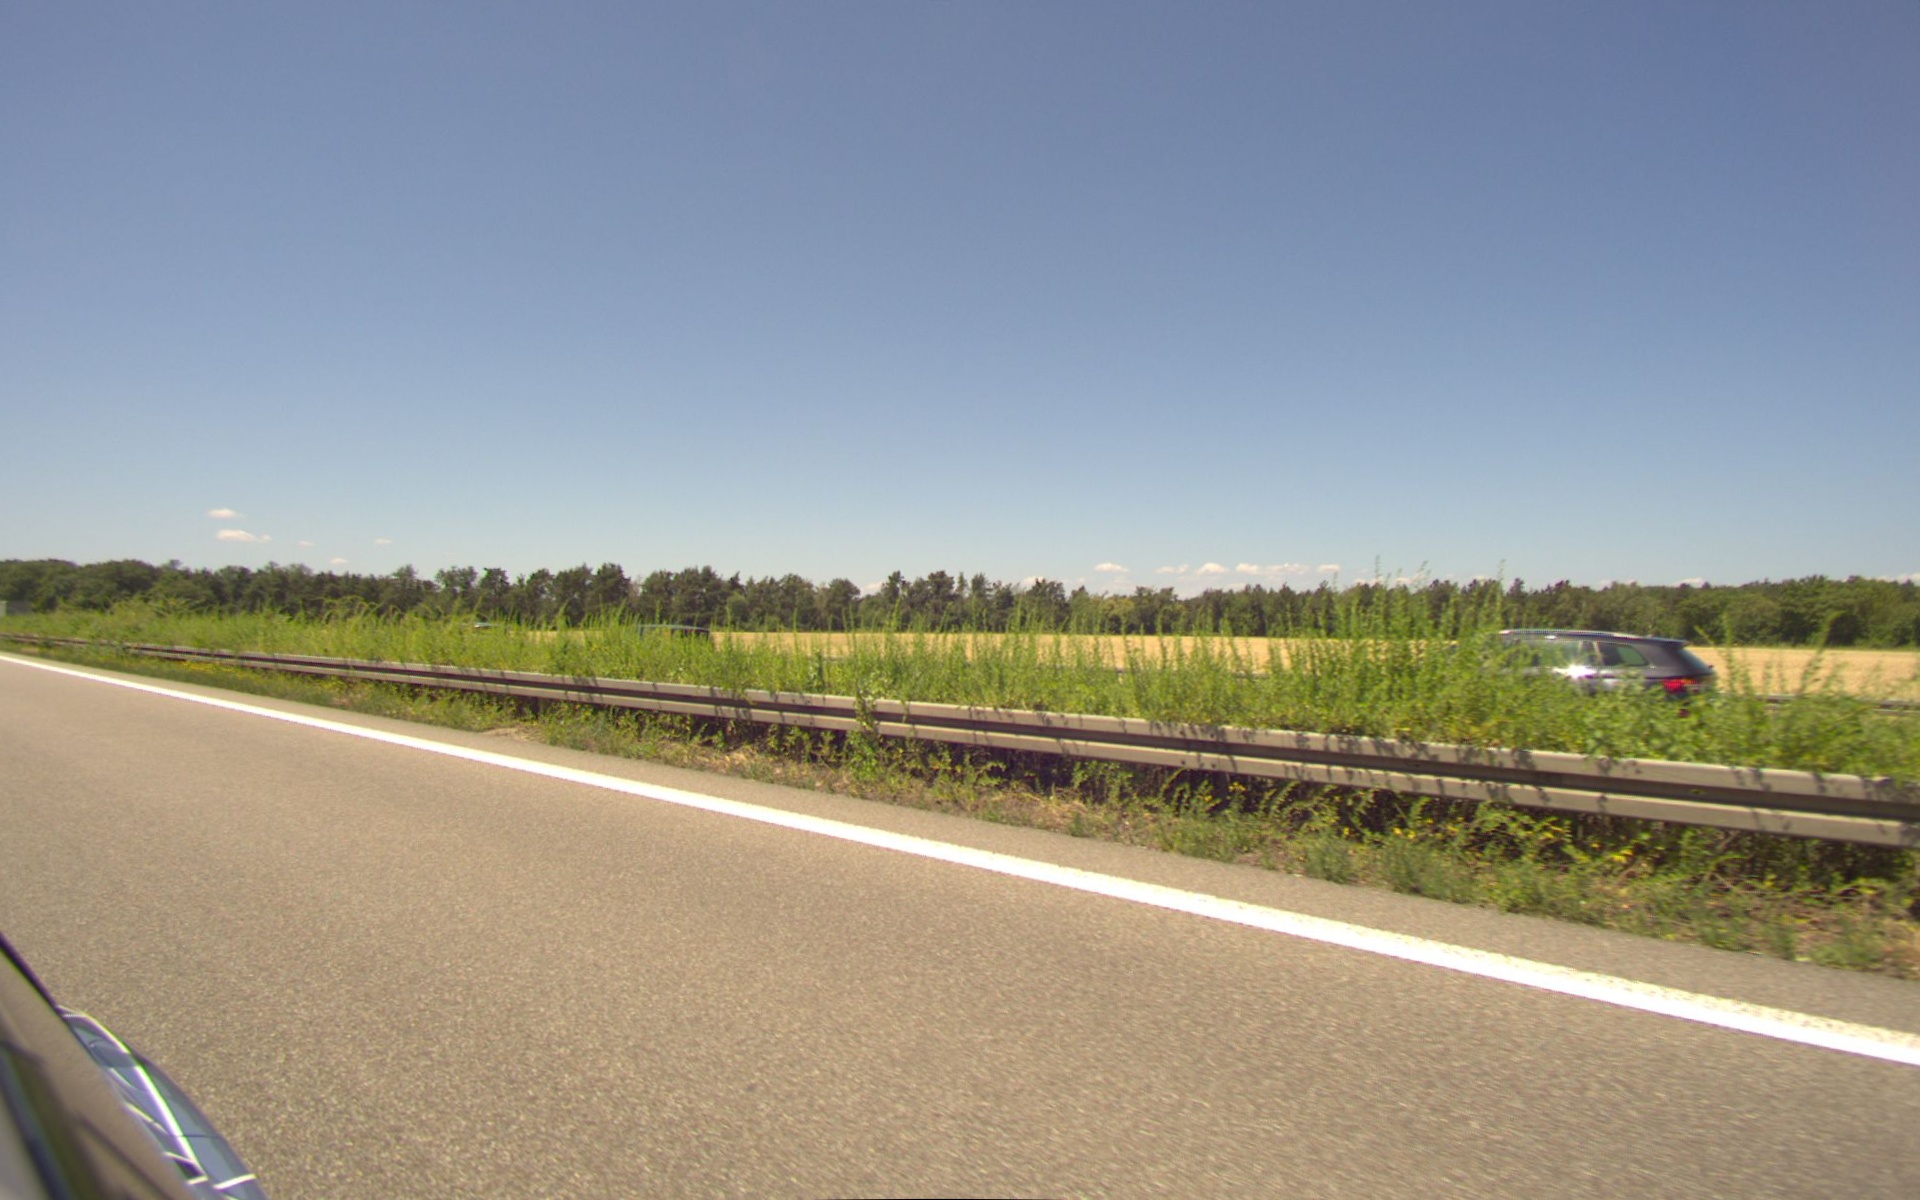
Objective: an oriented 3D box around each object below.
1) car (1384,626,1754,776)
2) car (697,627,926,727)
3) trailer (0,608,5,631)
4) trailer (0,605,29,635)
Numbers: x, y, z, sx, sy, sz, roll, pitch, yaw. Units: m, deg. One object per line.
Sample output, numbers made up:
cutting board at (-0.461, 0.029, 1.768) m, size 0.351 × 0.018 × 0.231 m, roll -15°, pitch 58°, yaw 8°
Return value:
car at (8.040, 1.216, 13.570) m, size 3.998 × 1.697 × 1.786 m, roll -1°, pitch -3°, yaw 41°
car at (-2.667, 1.257, 17.688) m, size 3.998 × 1.552 × 1.790 m, roll -1°, pitch -3°, yaw 41°
trailer at (-162.808, 3.313, 169.310) m, size 14.377 × 3.726 × 3.077 m, roll -1°, pitch -1°, yaw 42°
trailer at (-126.823, 2.725, 134.015) m, size 14.369 × 3.726 × 3.316 m, roll -1°, pitch -1°, yaw 40°
